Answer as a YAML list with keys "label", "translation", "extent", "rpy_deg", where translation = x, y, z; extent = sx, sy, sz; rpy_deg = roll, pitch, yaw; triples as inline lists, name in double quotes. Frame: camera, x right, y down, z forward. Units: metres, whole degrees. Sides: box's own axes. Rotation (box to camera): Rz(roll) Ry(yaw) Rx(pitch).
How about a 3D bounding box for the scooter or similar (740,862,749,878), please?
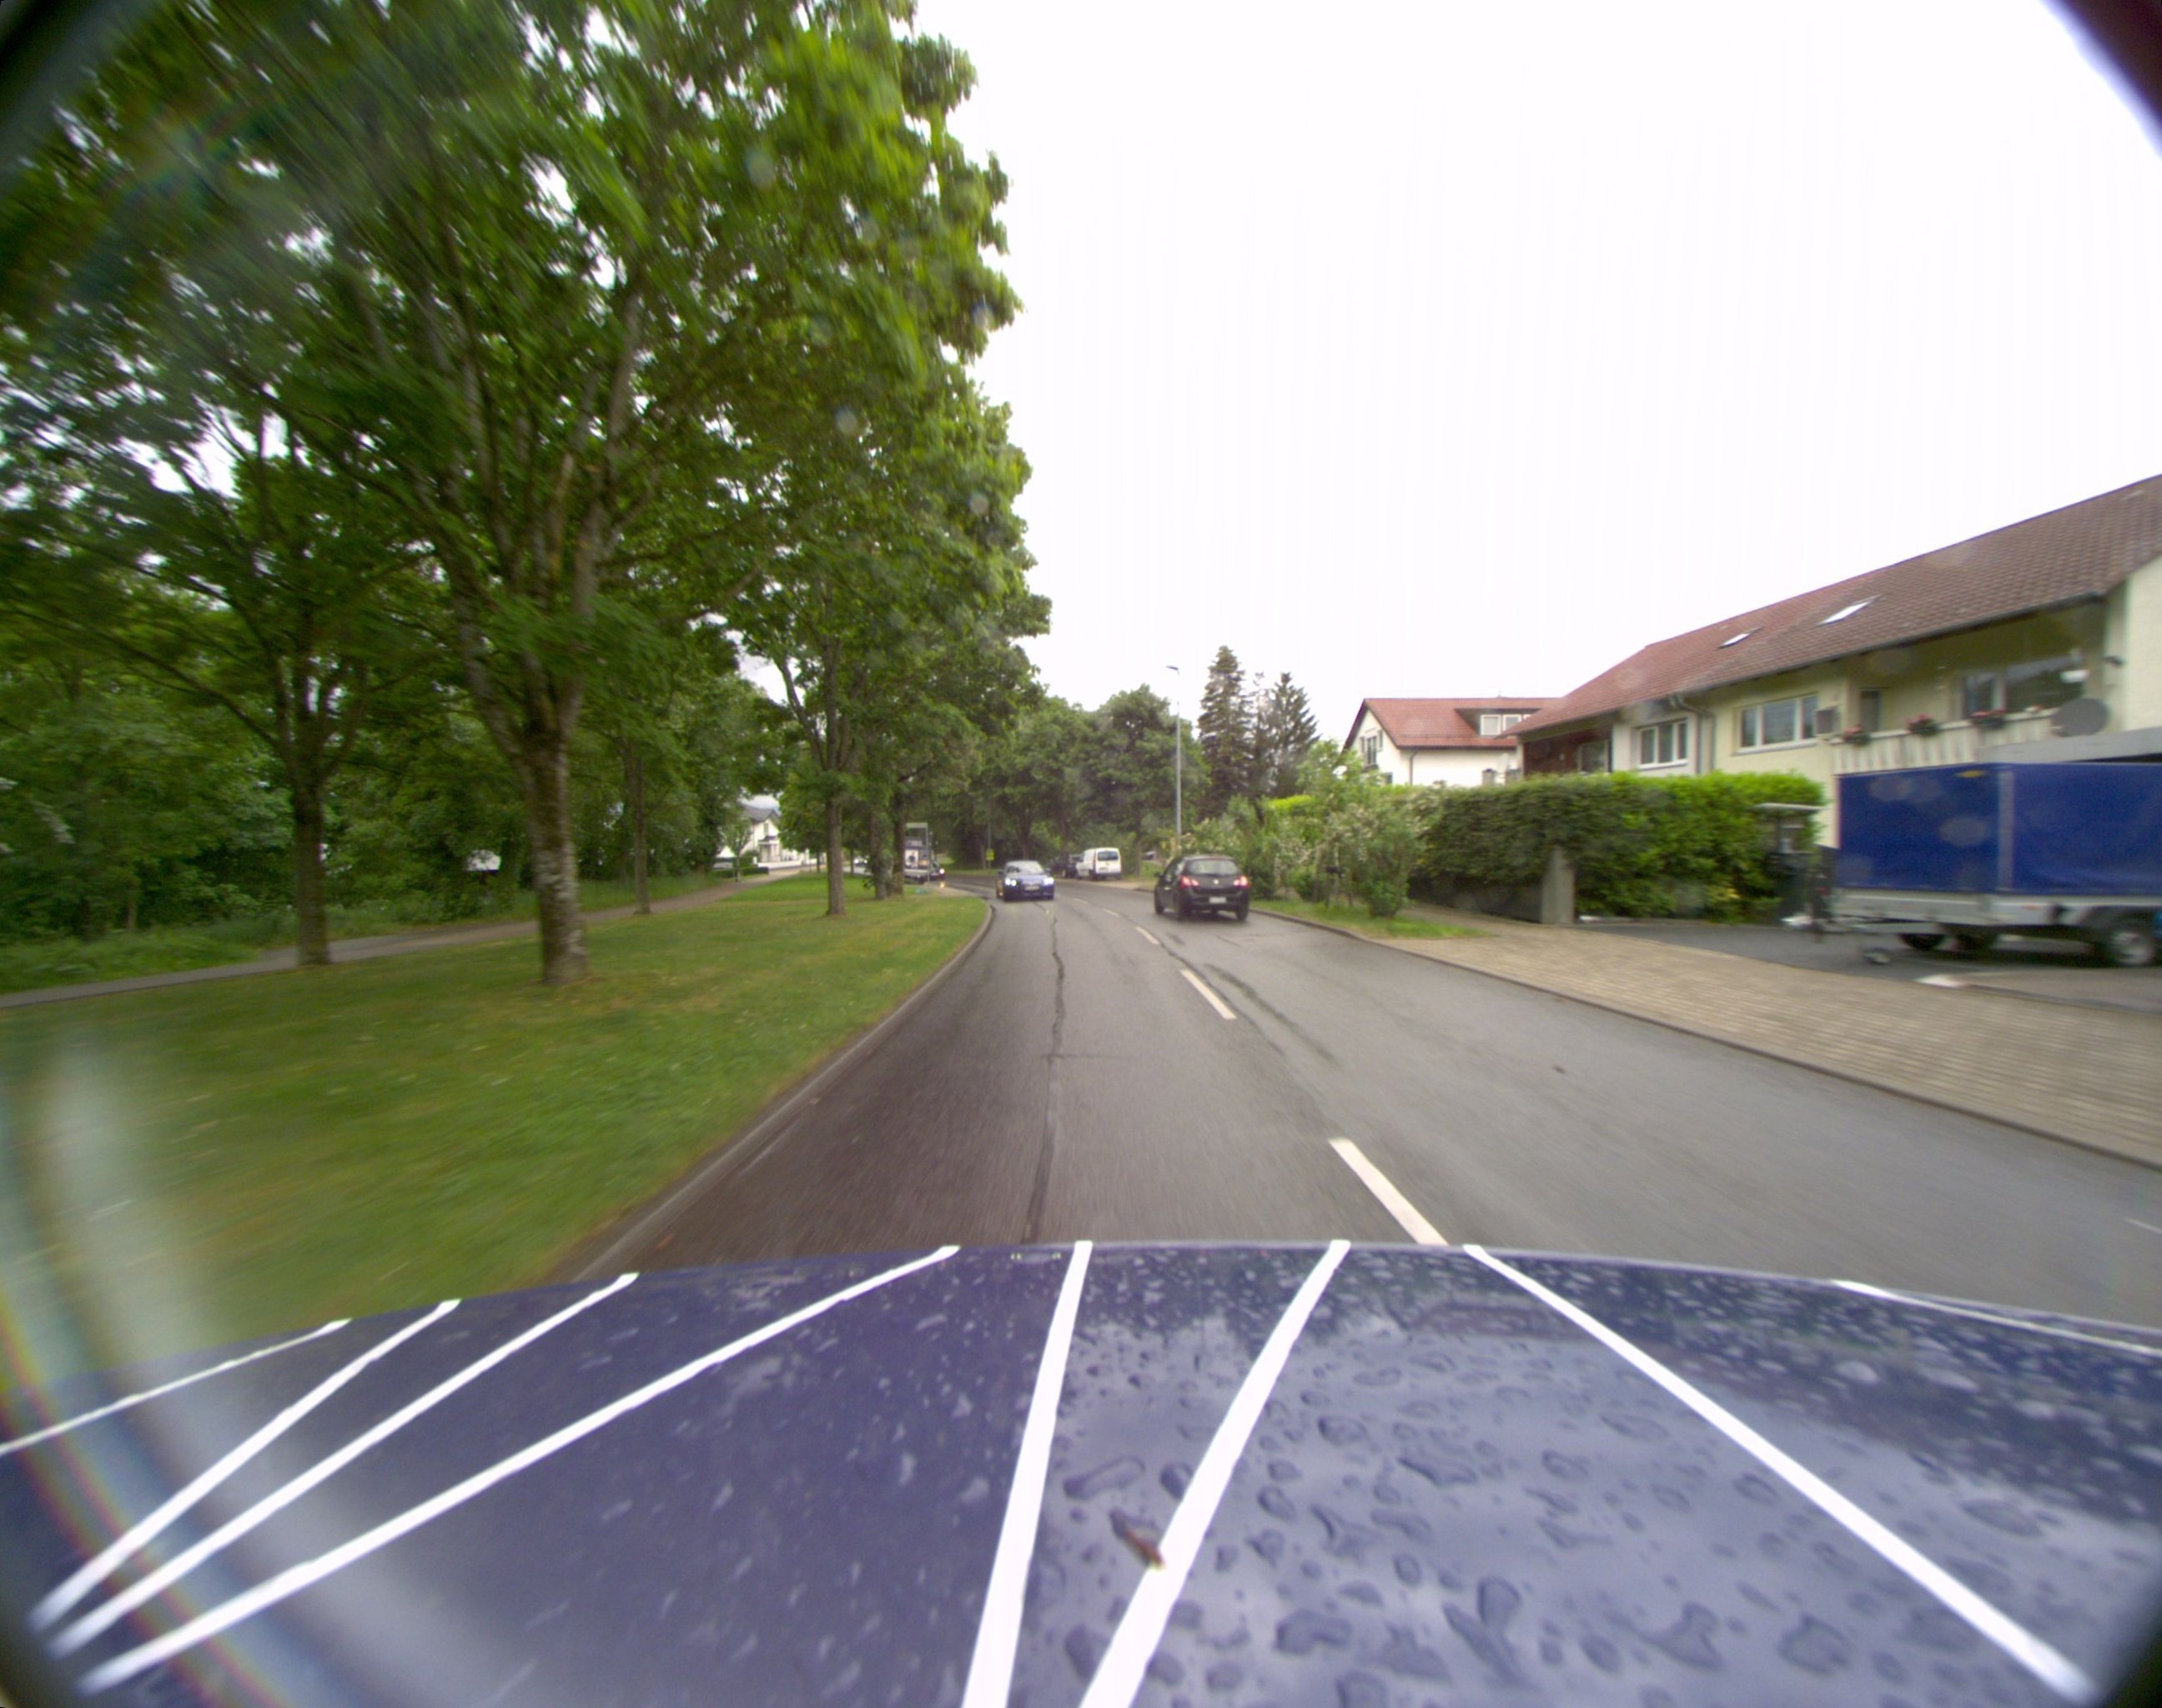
- label: "scooter or similar"
  translation: [-24.127, 1.162, 54.519]
  extent: [0.465, 1.140, 1.299]
  rpy_deg: [0, 0, -17]

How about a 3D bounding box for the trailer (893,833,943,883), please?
- label: "trailer"
  translation: [-10.249, 0.245, 47.368]
  extent: [2.003, 2.791, 5.598]
  rpy_deg: [4, -1, -21]

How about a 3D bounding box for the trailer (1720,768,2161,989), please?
- label: "trailer"
  translation: [10.343, 0.214, 8.681]
  extent: [4.633, 2.159, 1.814]
  rpy_deg: [-2, 1, -2]

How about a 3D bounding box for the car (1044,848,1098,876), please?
- label: "car"
  translation: [-0.700, 0.470, 48.442]
  extent: [1.757, 1.631, 4.583]
  rpy_deg: [-4, 2, -23]

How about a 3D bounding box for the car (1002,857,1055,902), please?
- label: "car"
  translation: [-2.021, 0.924, 29.142]
  extent: [1.816, 1.459, 3.972]
  rpy_deg: [-3, 1, -5]

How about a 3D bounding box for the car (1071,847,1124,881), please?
- label: "car"
  translation: [0.877, 0.510, 43.462]
  extent: [1.805, 1.785, 4.366]
  rpy_deg: [-3, 1, -15]

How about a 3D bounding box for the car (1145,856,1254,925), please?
- label: "car"
  translation: [2.737, 0.792, 18.374]
  extent: [1.588, 1.469, 3.893]
  rpy_deg: [-1, 0, -7]

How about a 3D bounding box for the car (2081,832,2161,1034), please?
- label: "car"
  translation: [10.388, 0.548, 5.306]
  extent: [4.249, 1.530, 2.051]
  rpy_deg: [-2, 1, -2]
